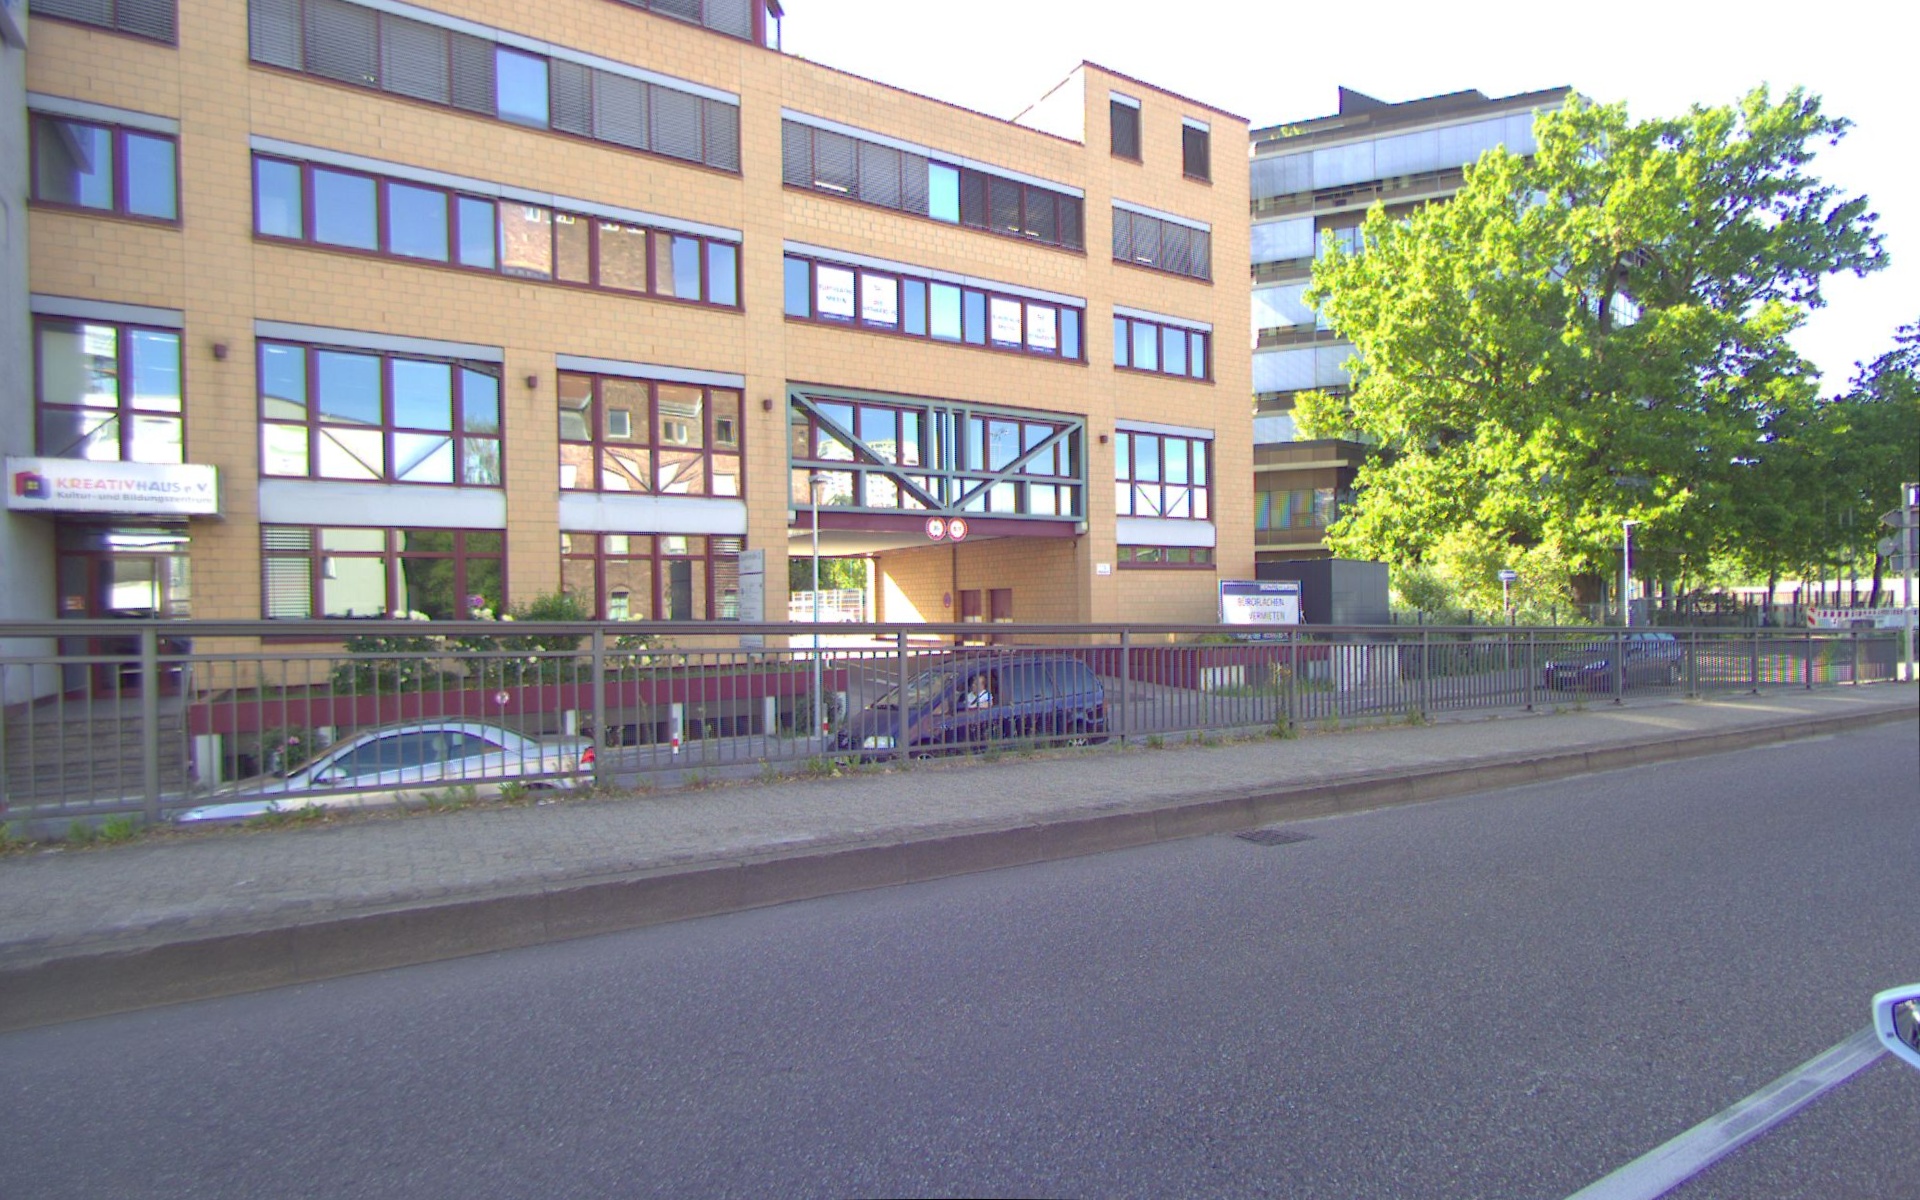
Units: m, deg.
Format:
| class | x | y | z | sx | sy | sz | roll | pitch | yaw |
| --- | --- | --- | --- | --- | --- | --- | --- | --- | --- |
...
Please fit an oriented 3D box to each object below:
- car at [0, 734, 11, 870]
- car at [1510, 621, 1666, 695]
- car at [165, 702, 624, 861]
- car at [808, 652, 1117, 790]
| class | x | y | z | sx | sy | sz | roll | pitch | yaw |
| --- | --- | --- | --- | --- | --- | --- | --- | --- | --- |
| car | -10.615 | 1.942 | 8.298 | 3.766 | 1.286 | 1.567 | 0 | -2 | -32 |
| car | 16.435 | 1.460 | 26.275 | 3.953 | 1.715 | 1.843 | -1 | 0 | -30 |
| car | -6.134 | 1.893 | 11.308 | 4.210 | 1.181 | 1.713 | 0 | -2 | -32 |
| car | 0.135 | 1.691 | 15.216 | 4.541 | 1.669 | 1.710 | 0 | -2 | -36 |
